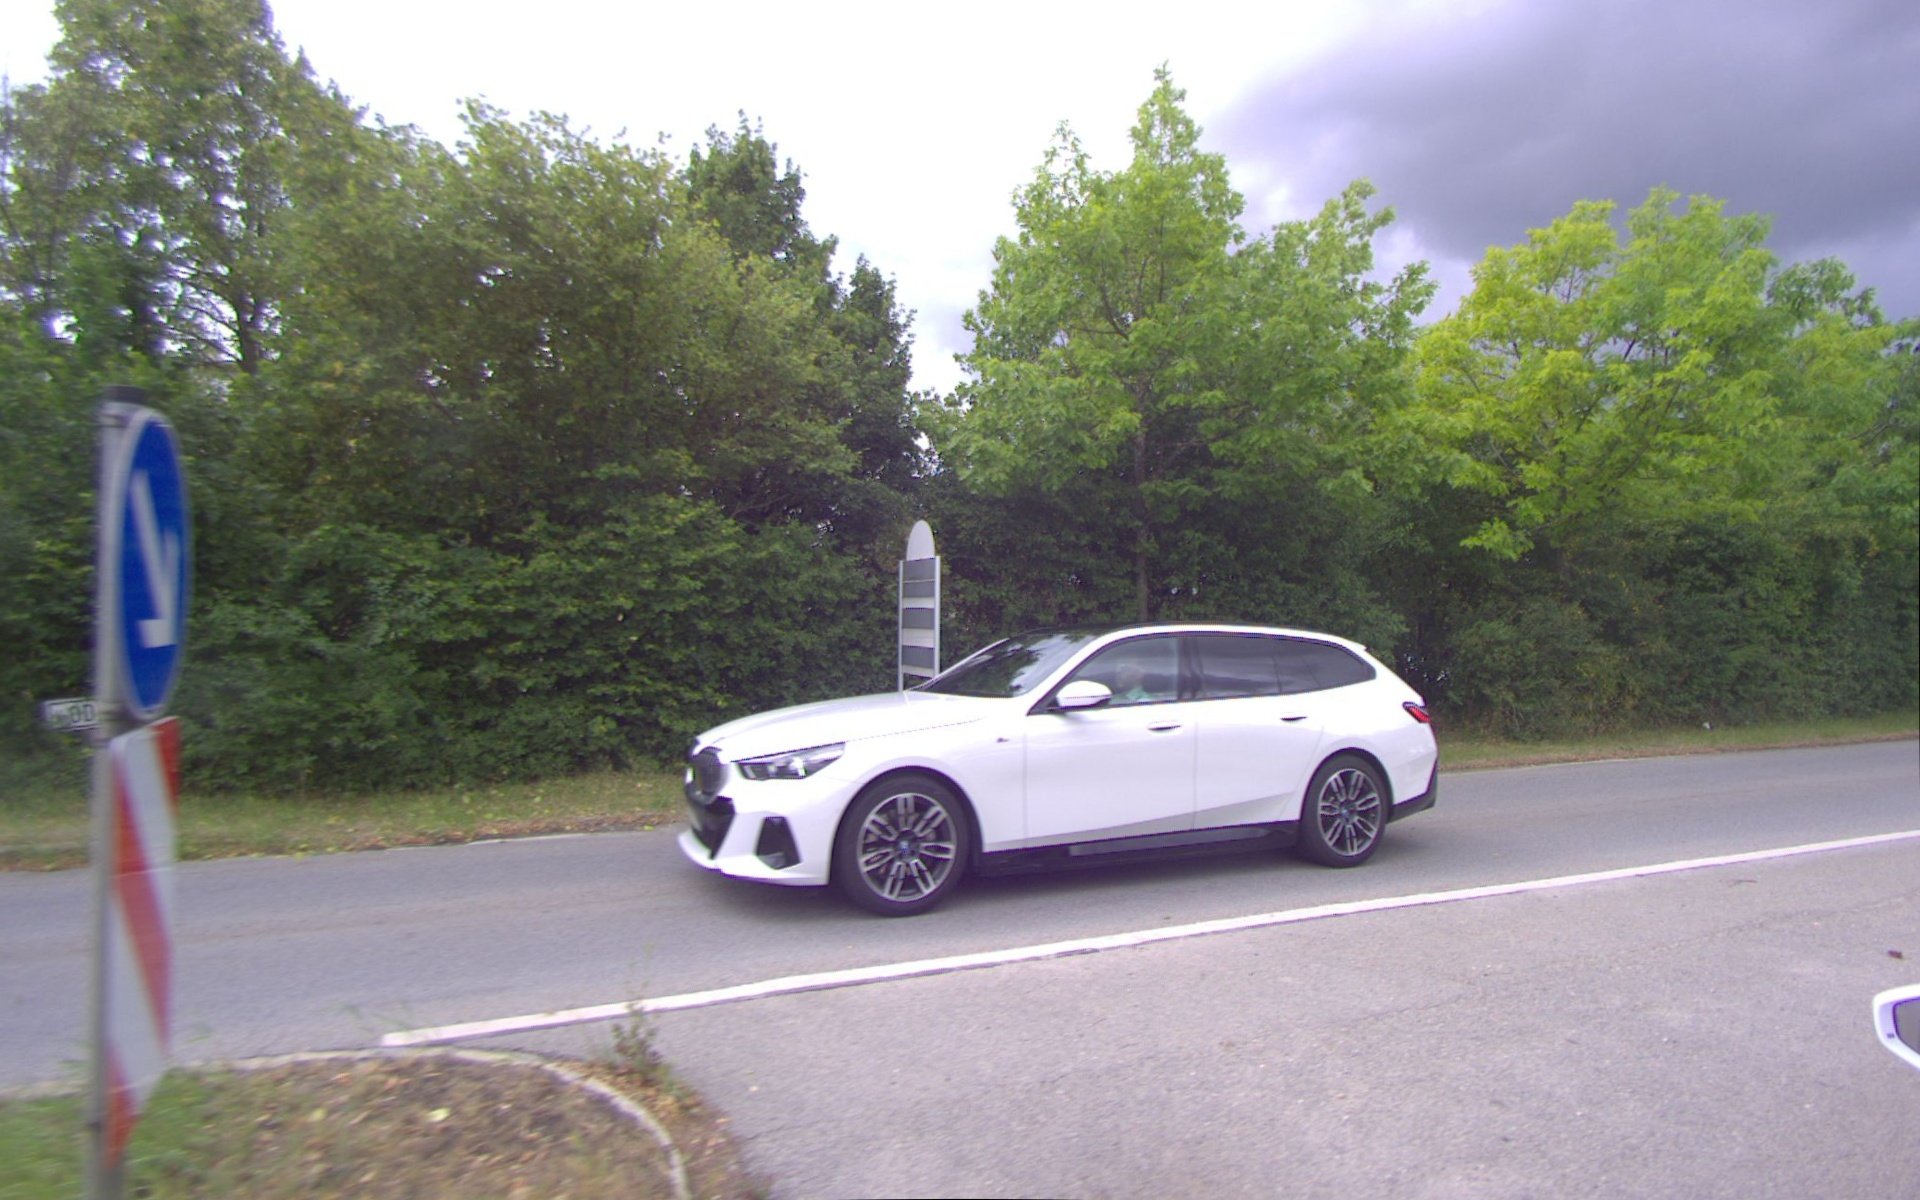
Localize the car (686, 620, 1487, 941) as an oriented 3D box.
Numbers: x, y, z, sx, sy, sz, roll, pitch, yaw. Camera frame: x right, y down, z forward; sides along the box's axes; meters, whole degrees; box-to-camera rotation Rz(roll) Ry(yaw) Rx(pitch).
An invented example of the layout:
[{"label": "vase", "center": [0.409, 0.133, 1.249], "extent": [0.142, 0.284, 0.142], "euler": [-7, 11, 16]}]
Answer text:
[{"label": "car", "center": [0.847, 0.910, 6.674], "extent": [4.875, 1.473, 2.207], "euler": [1, -3, -25]}]
